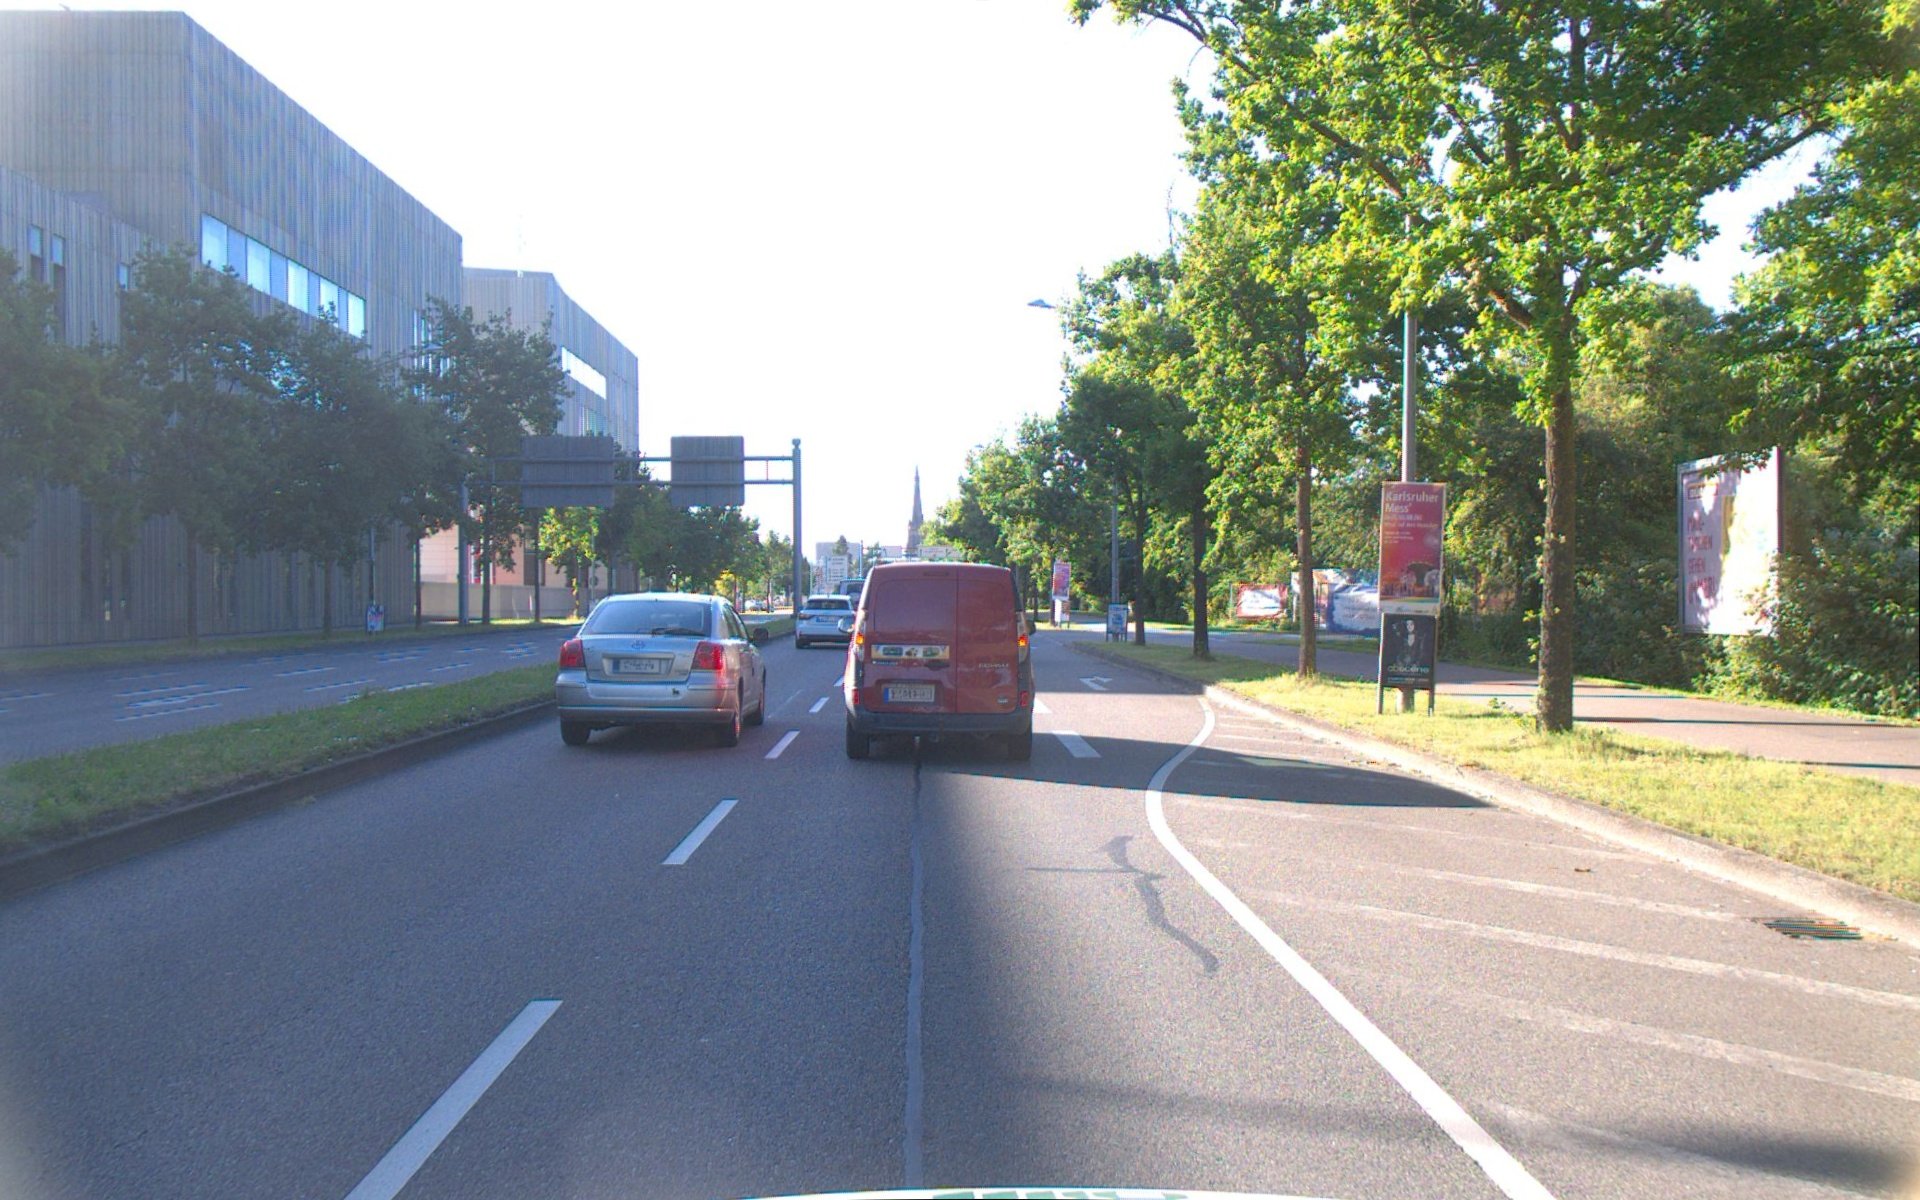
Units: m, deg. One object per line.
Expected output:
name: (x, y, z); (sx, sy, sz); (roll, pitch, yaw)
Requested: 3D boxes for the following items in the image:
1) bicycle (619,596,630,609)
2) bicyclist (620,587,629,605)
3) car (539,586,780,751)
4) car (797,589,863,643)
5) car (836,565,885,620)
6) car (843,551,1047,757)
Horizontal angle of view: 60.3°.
bicycle: (-26.994, 0.211, 133.118); (0.558, 1.021, 2.095); (-1, 0, -3)
bicyclist: (-26.993, -0.309, 133.070); (0.551, 1.417, 0.747); (-1, -1, -3)
car: (-2.961, 0.620, 17.162); (1.803, 1.482, 4.161); (1, 0, -1)
car: (-3.553, 0.412, 45.518); (1.628, 1.422, 3.557); (0, 0, -2)
car: (-3.520, -0.269, 59.118); (1.628, 1.889, 3.557); (0, 0, -2)
car: (-0.189, 0.470, 16.498); (1.770, 1.790, 4.004); (1, 0, -2)
